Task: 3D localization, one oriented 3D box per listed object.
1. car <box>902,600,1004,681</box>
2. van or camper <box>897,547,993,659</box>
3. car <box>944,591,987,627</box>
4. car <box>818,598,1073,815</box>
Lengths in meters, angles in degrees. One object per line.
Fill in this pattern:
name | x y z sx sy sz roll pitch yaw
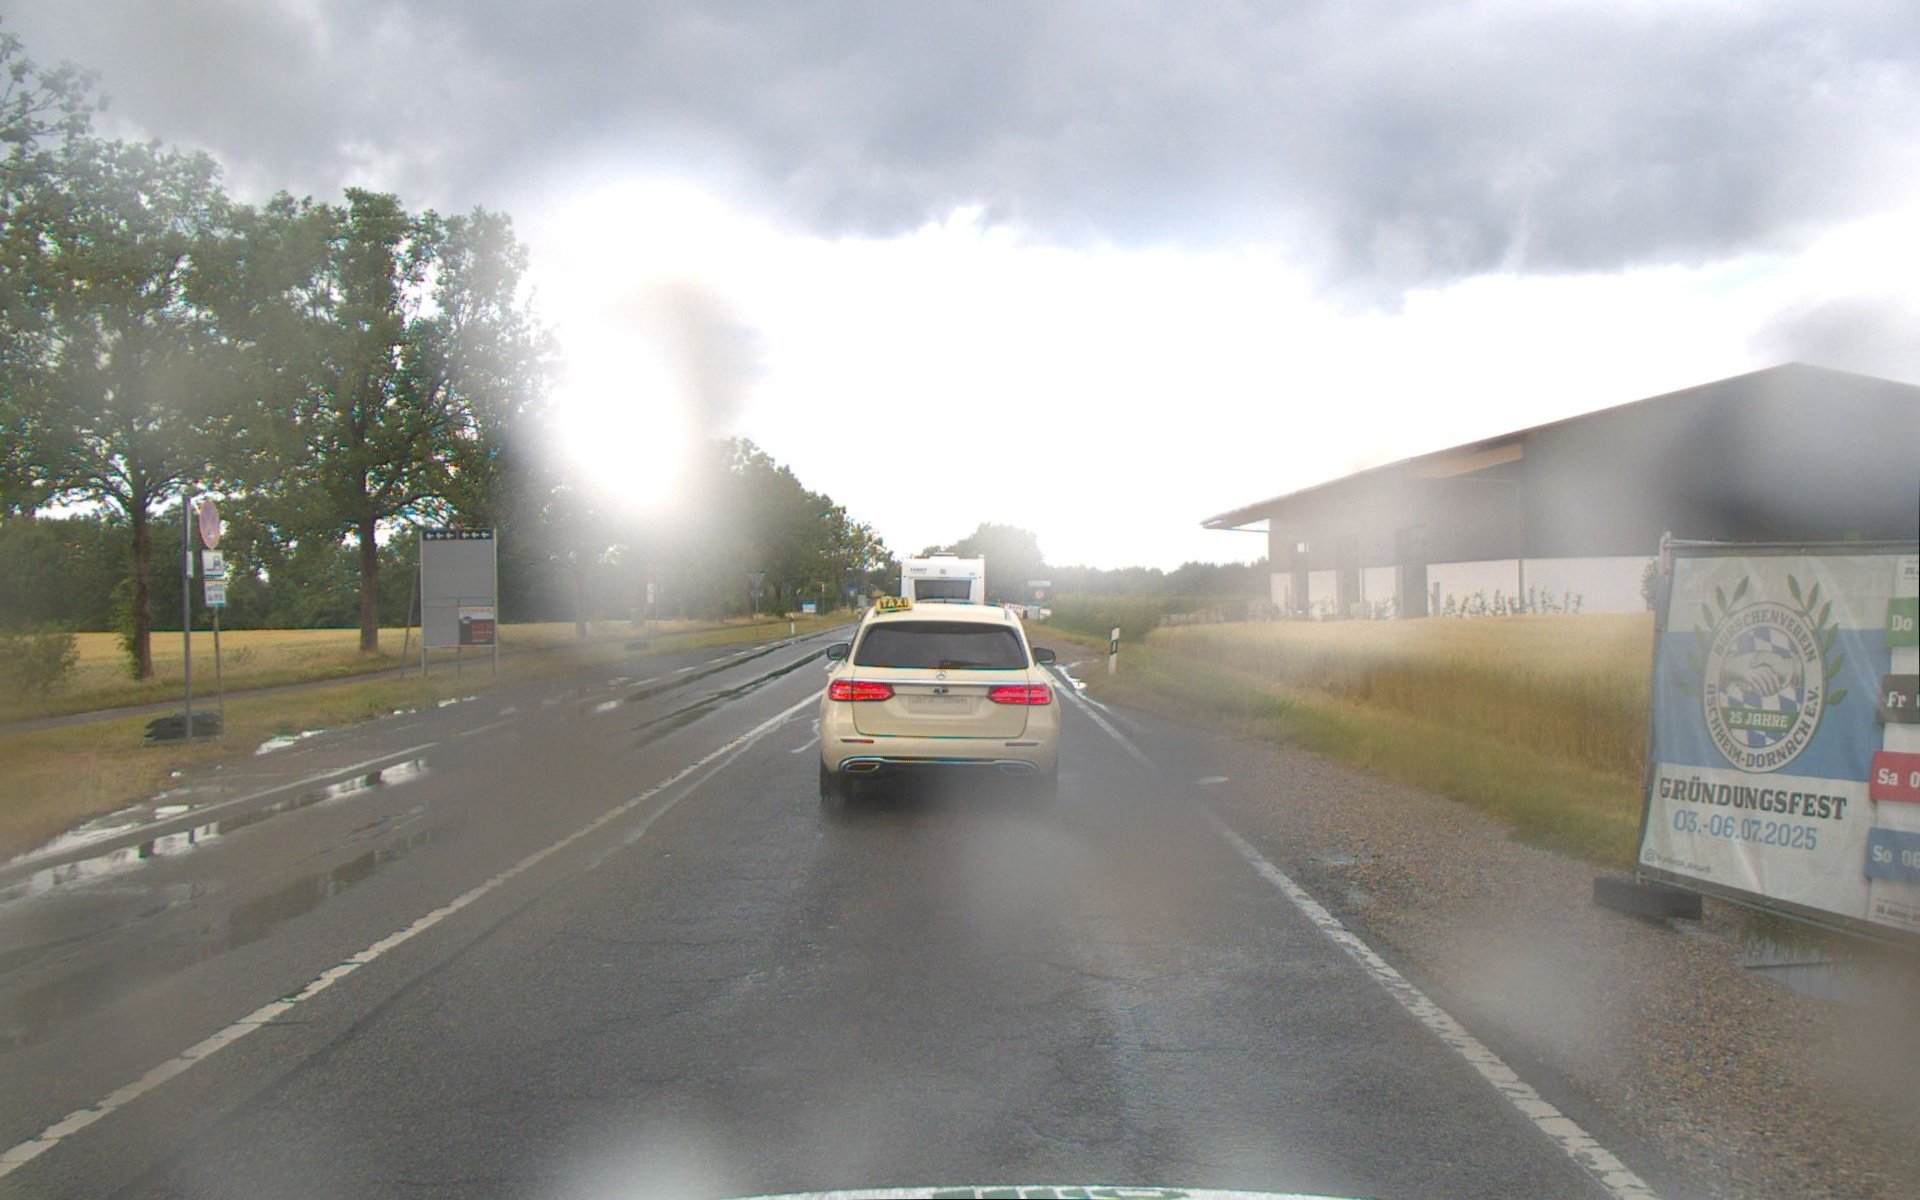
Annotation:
car | -0.156 0.741 32.249 1.856 1.454 3.927 0 0 -1
van or camper | -0.370 0.080 46.666 2.446 2.880 5.934 -2 0 1
car | 0.263 0.399 76.242 1.855 1.618 3.929 0 0 2
car | -0.097 0.734 13.483 1.760 1.490 4.030 0 0 0
